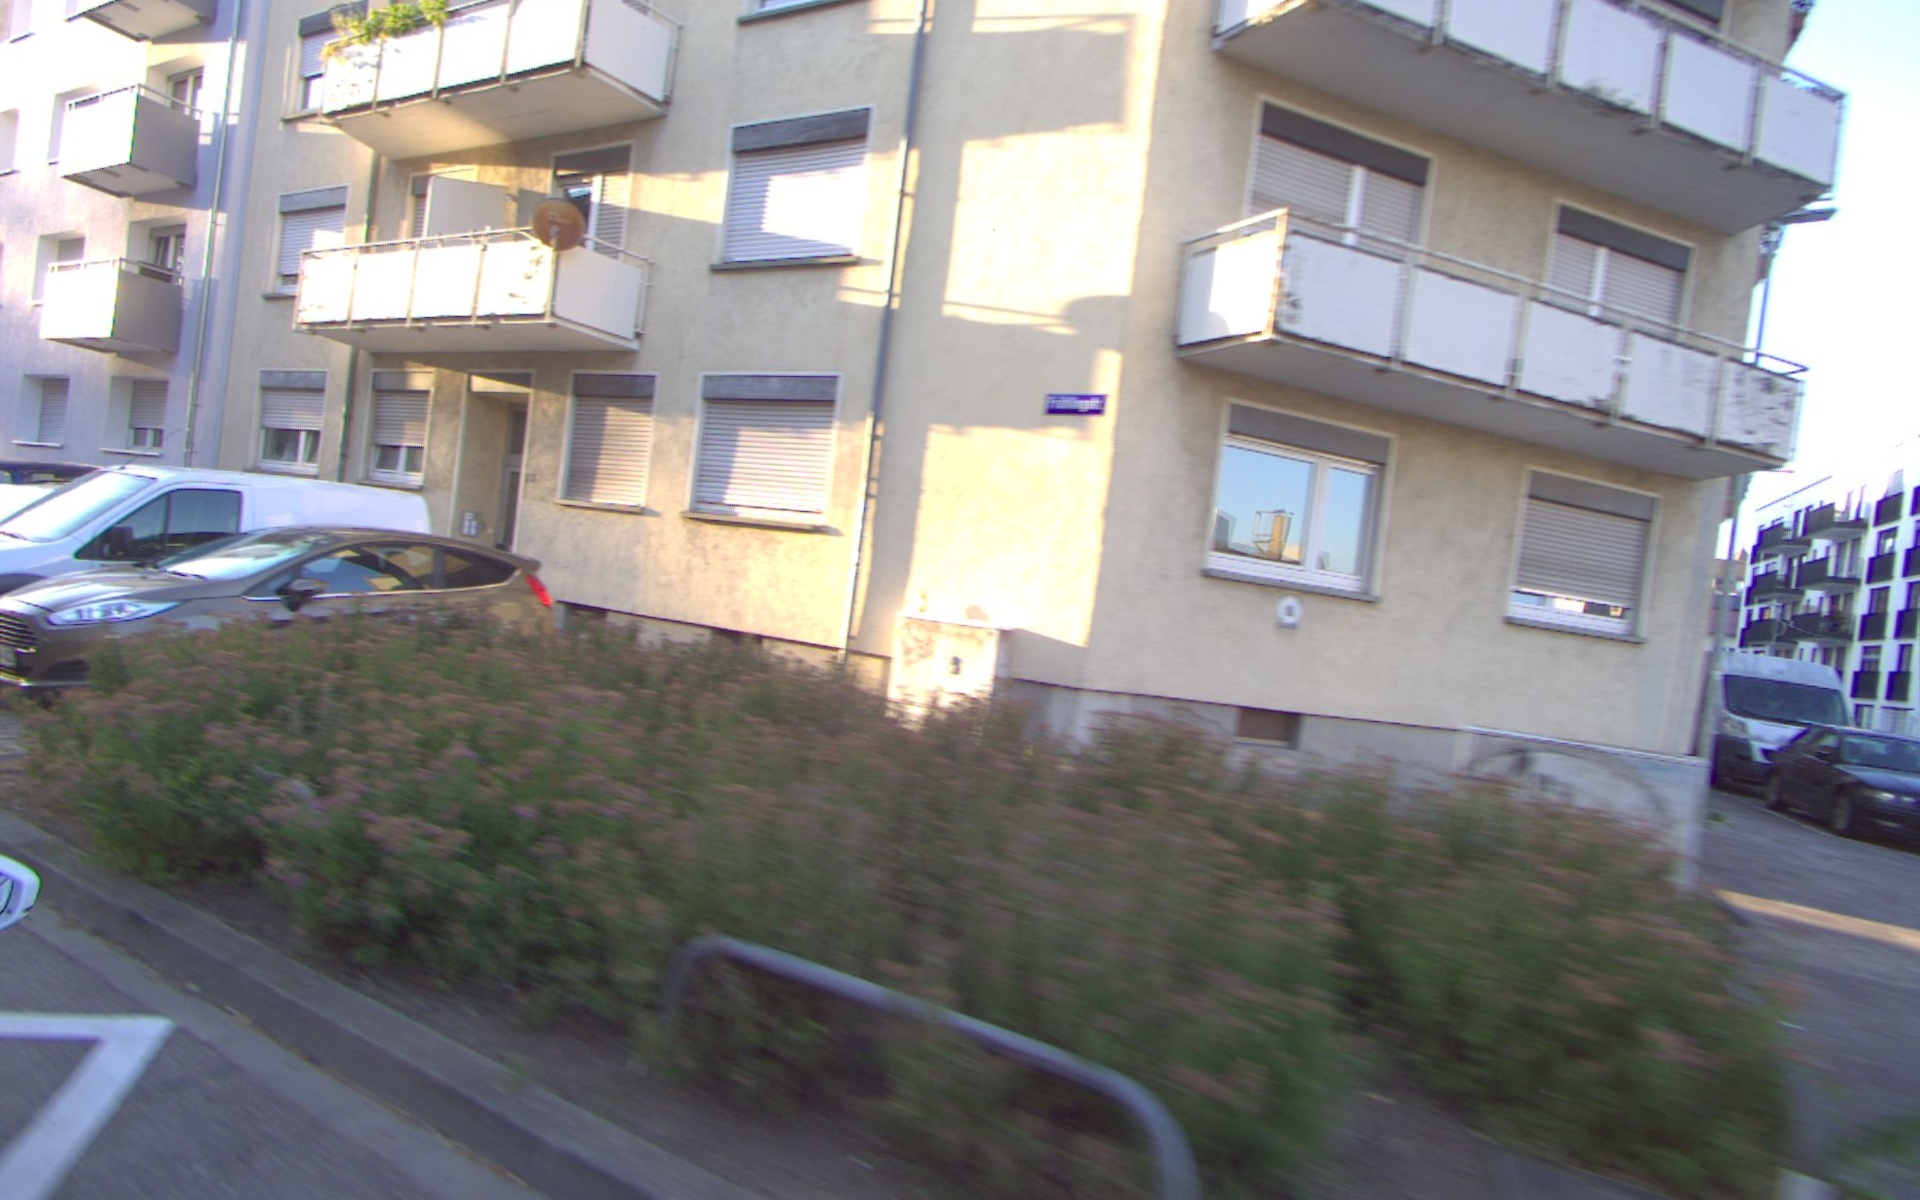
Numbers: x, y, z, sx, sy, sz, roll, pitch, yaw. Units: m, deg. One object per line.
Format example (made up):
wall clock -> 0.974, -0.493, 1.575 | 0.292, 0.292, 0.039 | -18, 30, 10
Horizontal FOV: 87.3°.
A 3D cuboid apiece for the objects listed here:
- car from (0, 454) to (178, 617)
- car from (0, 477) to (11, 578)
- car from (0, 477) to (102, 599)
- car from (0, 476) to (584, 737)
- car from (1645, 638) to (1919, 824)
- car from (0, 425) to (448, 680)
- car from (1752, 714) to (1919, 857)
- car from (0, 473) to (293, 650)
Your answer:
car -> -11.192, -0.802, 10.987 | 1.627, 1.717, 3.795 | 7, 1, 29
car -> -15.300, -1.189, 13.126 | 1.608, 1.434, 3.881 | 7, 1, 27
car -> -13.109, -0.911, 11.785 | 1.627, 1.468, 4.313 | 7, 1, 29
car -> -5.238, 0.095, 8.042 | 1.711, 1.510, 3.879 | 7, 0, 29
car -> 14.968, 2.242, 18.844 | 2.192, 2.561, 6.032 | 10, 1, 25
car -> -7.213, -0.338, 9.046 | 1.711, 1.883, 4.287 | 7, 0, 29
car -> 12.429, 2.483, 13.340 | 1.964, 1.388, 3.997 | 10, 1, 25
car -> -9.057, -0.425, 9.693 | 1.676, 1.541, 3.961 | 8, 1, 29
